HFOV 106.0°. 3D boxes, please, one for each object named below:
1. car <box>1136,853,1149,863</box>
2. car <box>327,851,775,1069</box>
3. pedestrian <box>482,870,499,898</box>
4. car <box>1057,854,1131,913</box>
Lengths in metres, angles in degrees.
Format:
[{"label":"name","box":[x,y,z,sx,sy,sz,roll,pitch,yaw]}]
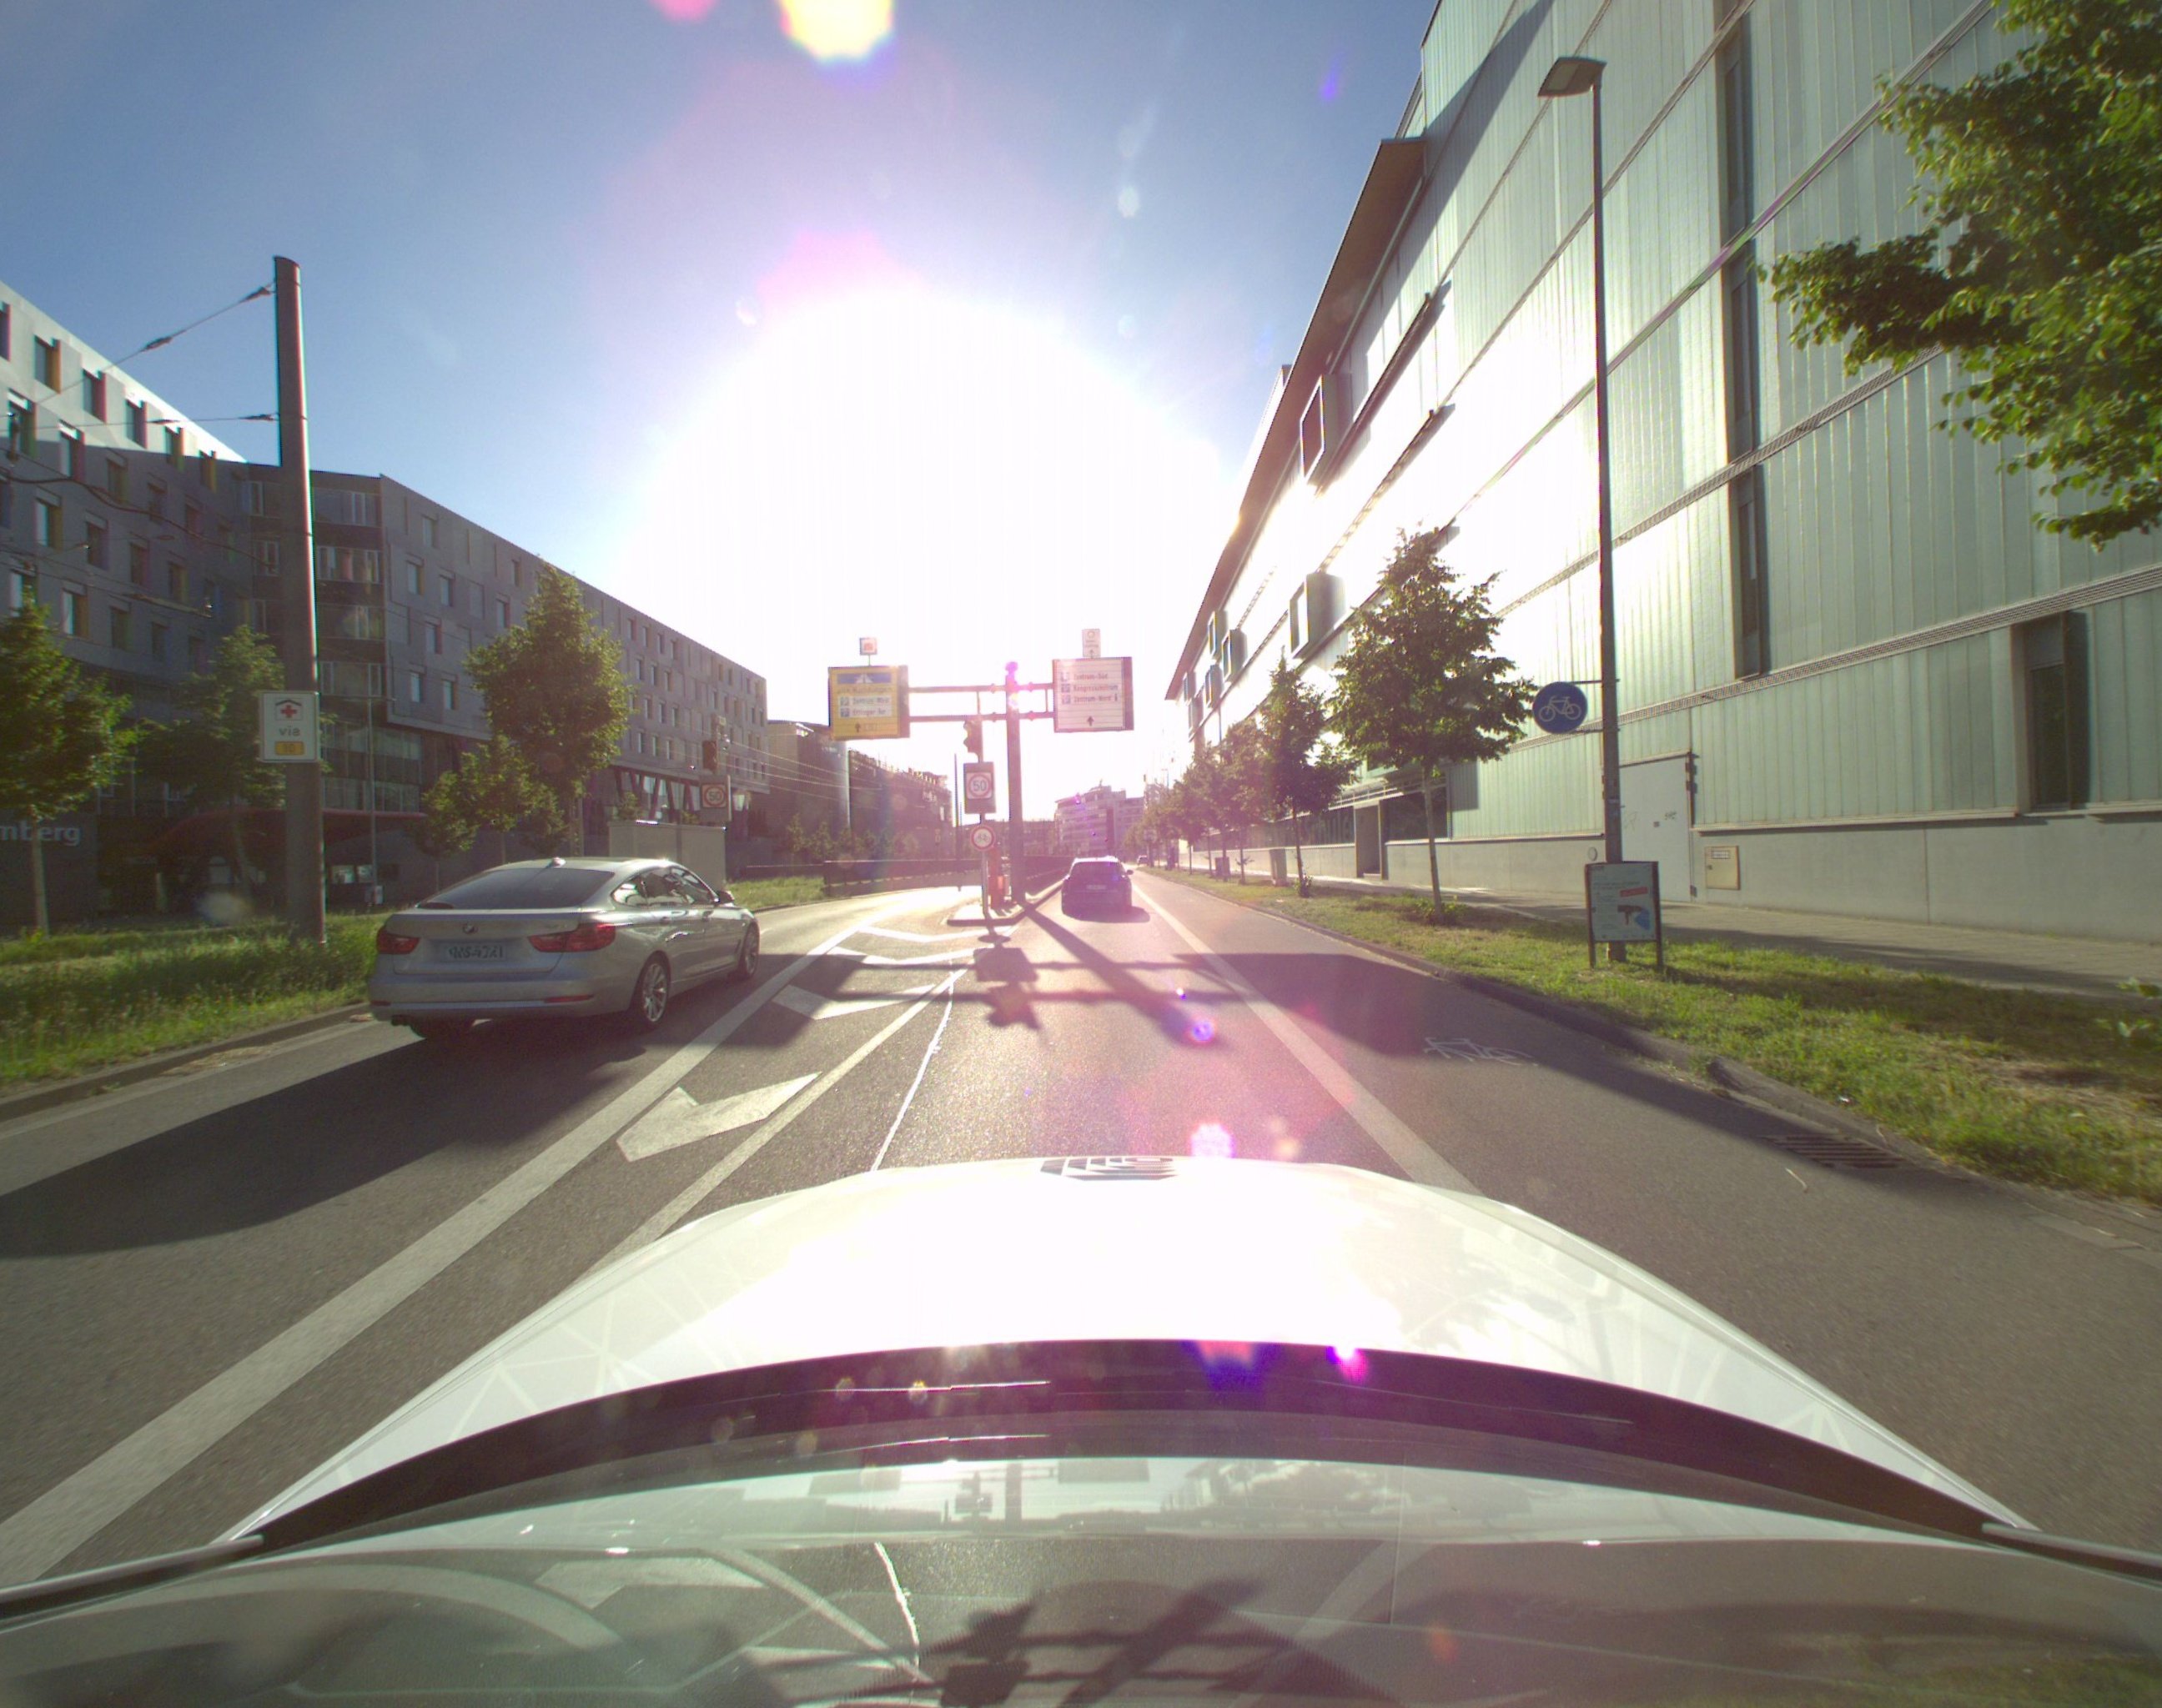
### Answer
[{"label":"car","box":[9.954,0.694,131.958,1.846,1.481,4.854,-3,0,1]},{"label":"car","box":[-4.662,0.738,8.247,1.797,1.527,4.899,0,0,-7]},{"label":"pedestrian","box":[-43.545,2.198,60.050,0.733,2.013,0.690,-2,0,2]},{"label":"car","box":[0.426,0.754,22.752,1.805,1.427,4.692,-2,-1,2]}]
